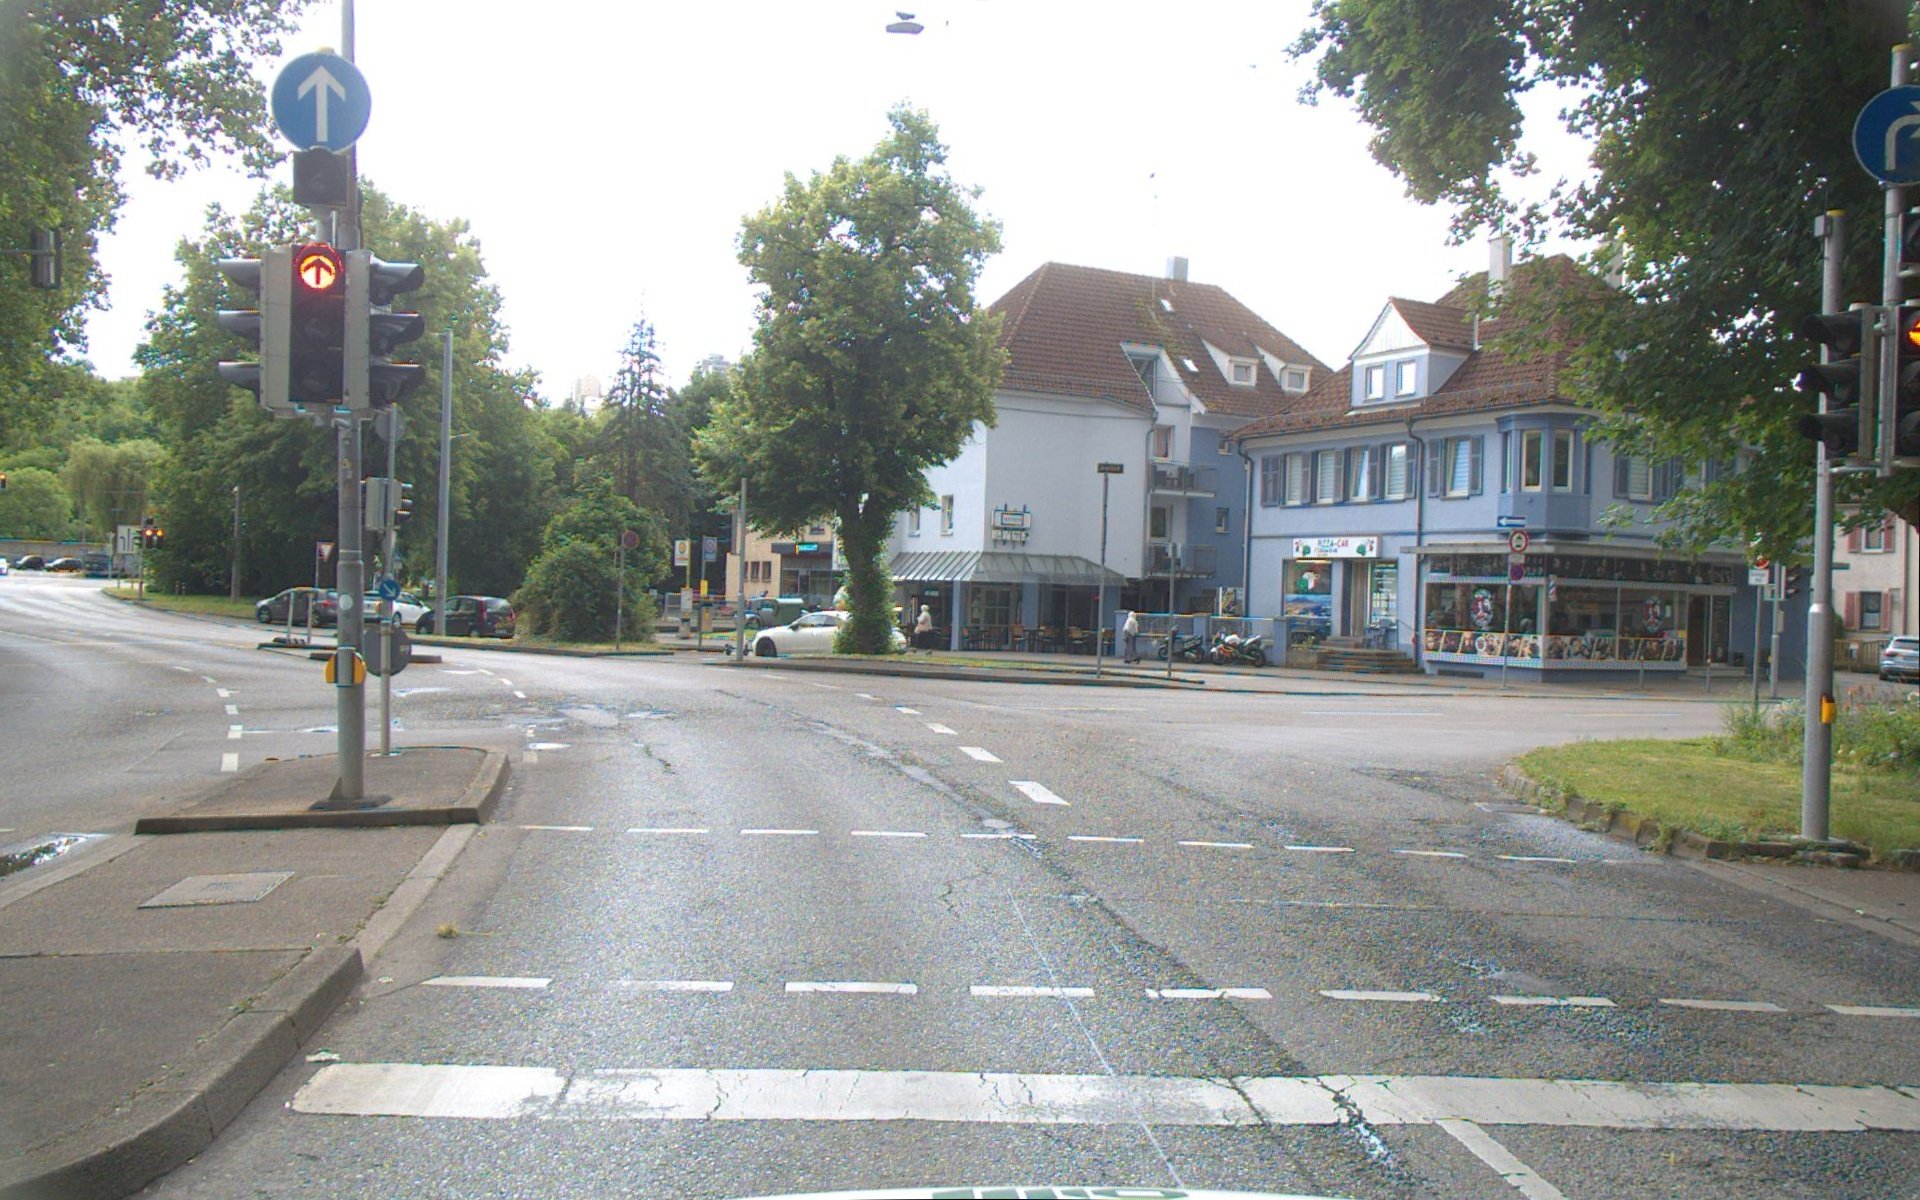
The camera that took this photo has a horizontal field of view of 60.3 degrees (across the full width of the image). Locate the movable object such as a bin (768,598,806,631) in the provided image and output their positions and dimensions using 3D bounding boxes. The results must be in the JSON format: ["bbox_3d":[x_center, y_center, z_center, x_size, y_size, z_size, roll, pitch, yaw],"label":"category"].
[{"bbox_3d":[-7.712,0.659,73.846,1.424,1.433,0.959,1,0,-27],"label":"movable object such as a bin"}]

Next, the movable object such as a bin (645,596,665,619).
[{"bbox_3d":[-15.846,0.396,85.919,0.937,1.135,0.381,1,0,-22],"label":"movable object such as a bin"}]

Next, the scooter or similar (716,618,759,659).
[{"bbox_3d":[-5.726,0.983,42.546,0.408,1.029,1.567,1,0,20],"label":"scooter or similar"}]

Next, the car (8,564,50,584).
[{"bbox_3d":[-102.203,-2.823,181.501,3.948,2.049,1.978,1,0,-32],"label":"car"}]

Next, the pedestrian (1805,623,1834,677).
[{"bbox_3d":[24.729,1.428,47.611,0.451,1.544,0.584,1,-1,-21],"label":"pedestrian"}]

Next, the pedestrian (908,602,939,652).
[{"bbox_3d":[-1.189,0.872,53.654,0.694,1.572,0.675,1,0,39],"label":"pedestrian"}]

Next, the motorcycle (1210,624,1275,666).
[{"bbox_3d":[8.277,1.311,48.484,1.765,1.141,0.692,1,0,38],"label":"motorcycle"}]

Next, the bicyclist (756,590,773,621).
[{"bbox_3d":[-9.979,0.291,84.463,0.726,1.568,0.597,1,0,-19],"label":"bicyclist"}]

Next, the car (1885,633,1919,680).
[{"bbox_3d":[29.856,1.738,51.416,1.471,1.393,3.164,1,0,38],"label":"car"}]

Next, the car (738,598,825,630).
[{"bbox_3d":[-8.152,0.642,75.736,3.690,1.368,1.421,1,0,-27],"label":"car"}]

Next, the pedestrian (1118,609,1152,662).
[{"bbox_3d":[5.237,1.054,49.498,0.754,1.572,0.675,1,-1,38],"label":"pedestrian"}]

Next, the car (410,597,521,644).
[{"bbox_3d":[-16.002,0.660,53.467,3.519,1.418,1.468,1,0,32],"label":"car"}]

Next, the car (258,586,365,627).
[{"bbox_3d":[-24.854,0.246,63.399,3.469,1.490,1.586,1,0,12],"label":"car"}]

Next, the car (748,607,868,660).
[{"bbox_3d":[-4.240,0.918,45.962,3.110,1.378,1.435,1,0,34],"label":"car"}]

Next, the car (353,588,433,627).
[{"bbox_3d":[-22.663,0.308,66.189,1.512,1.490,3.398,1,0,10],"label":"car"}]

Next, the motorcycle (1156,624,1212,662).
[{"bbox_3d":[6.797,1.294,50.240,1.609,1.082,0.690,1,0,44],"label":"motorcycle"}]
